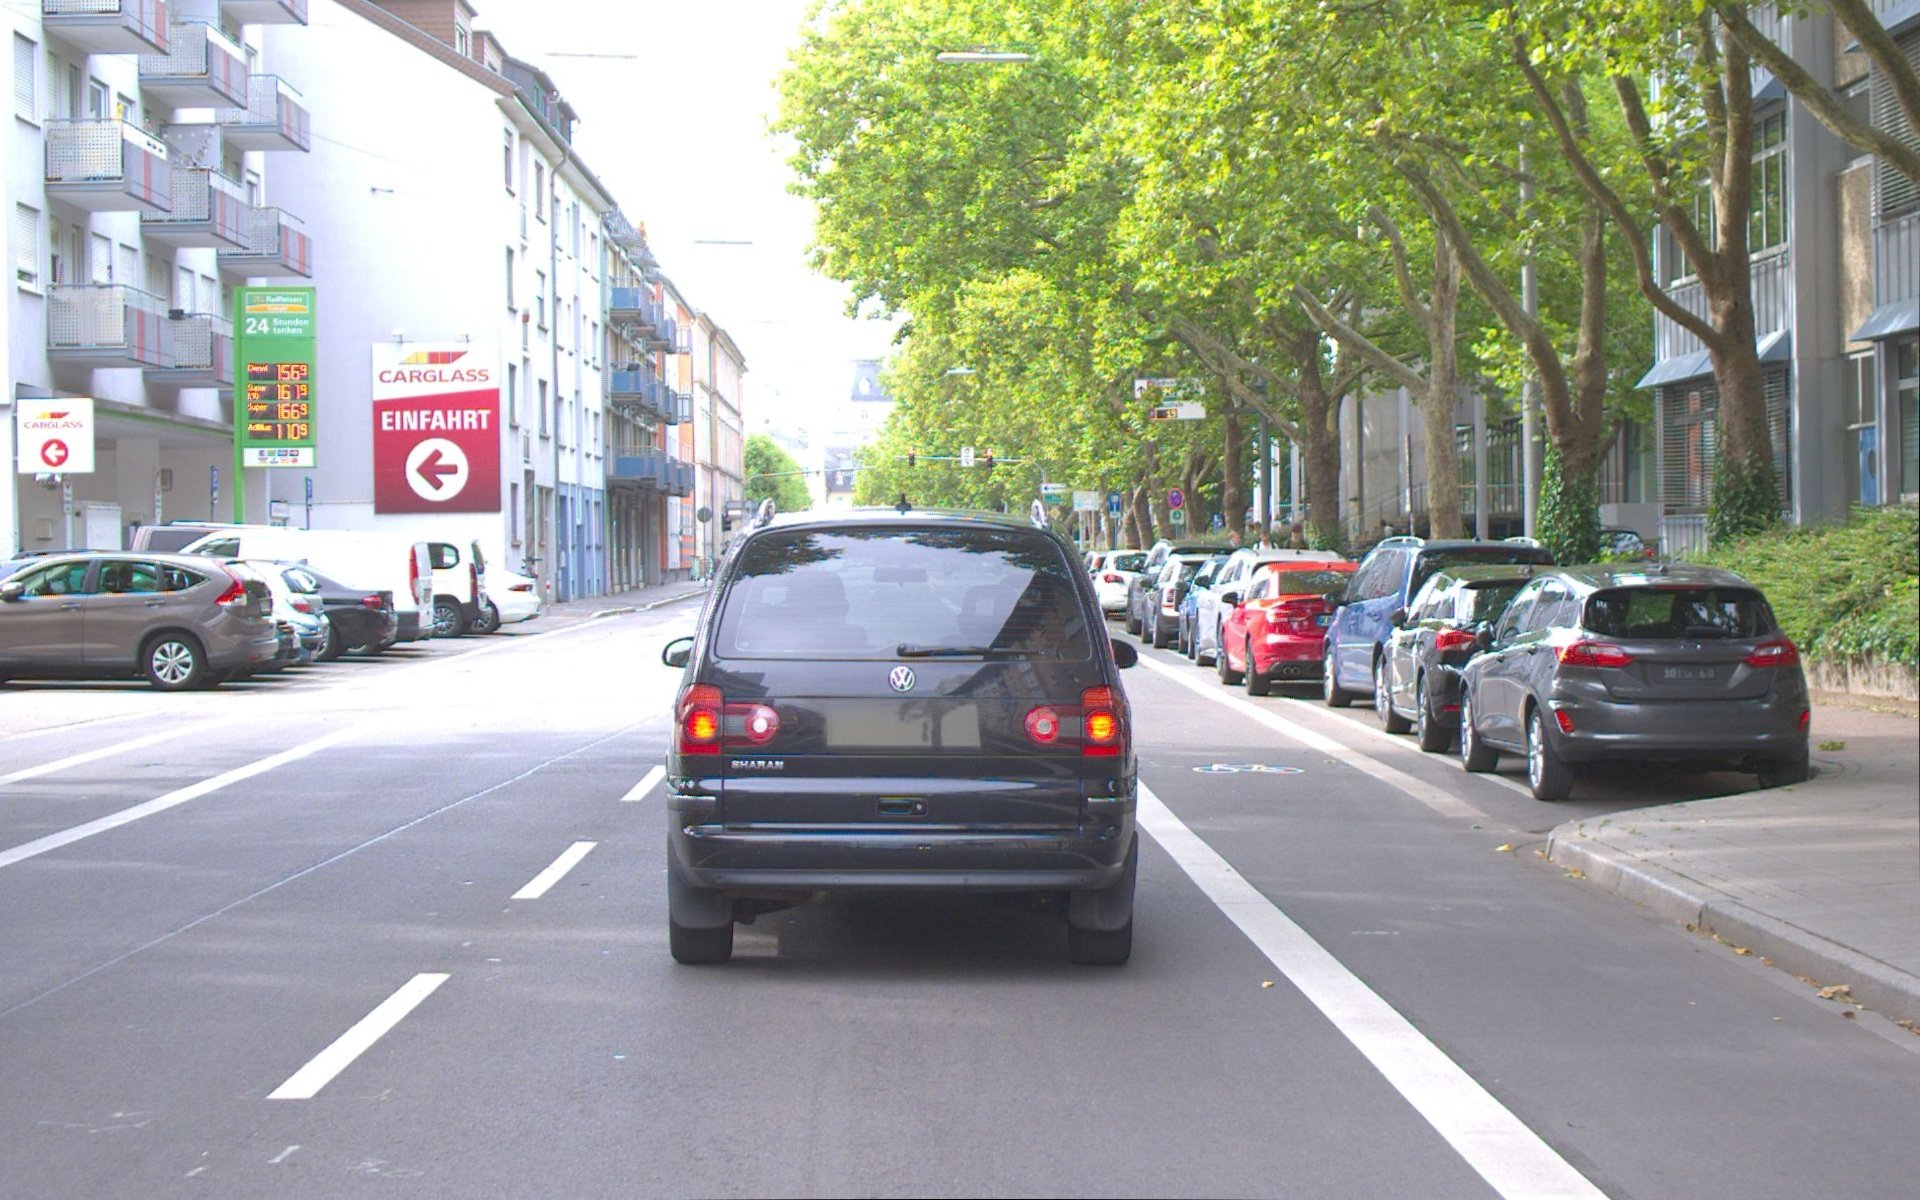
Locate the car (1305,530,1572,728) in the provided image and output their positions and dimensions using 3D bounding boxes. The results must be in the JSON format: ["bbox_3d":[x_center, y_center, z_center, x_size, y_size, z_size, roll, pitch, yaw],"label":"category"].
[{"bbox_3d":[4.412,0.212,32.331,1.657,1.645,4.421,1,2,-3],"label":"car"}]

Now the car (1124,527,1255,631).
[{"bbox_3d":[3.842,-0.386,58.245,1.668,1.635,4.504,2,1,-3],"label":"car"}]

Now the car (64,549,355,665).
[{"bbox_3d":[-10.449,0.085,48.048,3.681,1.480,1.753,1,1,-2],"label":"car"}]

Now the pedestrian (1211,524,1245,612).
[{"bbox_3d":[5.234,-0.631,67.090,0.587,1.696,0.508,1,2,0],"label":"pedestrian"}]

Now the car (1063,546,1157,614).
[{"bbox_3d":[3.284,-0.457,75.853,1.641,1.409,3.417,1,1,-5],"label":"car"}]

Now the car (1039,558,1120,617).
[{"bbox_3d":[3.022,-0.330,87.389,1.641,1.409,3.417,1,1,-5],"label":"car"}]

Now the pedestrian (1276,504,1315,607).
[{"bbox_3d":[6.524,-0.872,66.880,0.643,1.968,0.692,1,2,0],"label":"pedestrian"}]

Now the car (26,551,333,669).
[{"bbox_3d":[-10.350,0.120,45.757,3.681,1.422,1.753,1,1,-2],"label":"car"}]

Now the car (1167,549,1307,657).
[{"bbox_3d":[3.860,0.009,48.369,1.622,1.381,4.000,2,1,0],"label":"car"}]

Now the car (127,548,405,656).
[{"bbox_3d":[-10.057,0.016,50.019,3.682,1.439,1.753,1,1,-1],"label":"car"}]

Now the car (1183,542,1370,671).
[{"bbox_3d":[3.908,0.045,43.174,1.727,1.511,4.872,0,1,-2],"label":"car"}]

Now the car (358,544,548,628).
[{"bbox_3d":[-9.478,-0.263,64.407,3.342,1.491,1.596,1,1,-2],"label":"car"}]

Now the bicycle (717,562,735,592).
[{"bbox_3d":[-8.799,-0.860,129.281,0.631,1.030,2.015,0,-2,-3],"label":"bicycle"}]

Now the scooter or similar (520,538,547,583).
[{"bbox_3d":[-10.565,-0.978,85.187,0.631,1.030,2.015,1,-1,-7],"label":"scooter or similar"}]

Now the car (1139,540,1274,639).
[{"bbox_3d":[3.771,-0.190,53.189,1.629,1.465,4.318,0,1,-2],"label":"car"}]

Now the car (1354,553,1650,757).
[{"bbox_3d":[4.275,0.387,27.630,1.657,1.417,3.947,-1,2,-1],"label":"car"}]

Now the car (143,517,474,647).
[{"bbox_3d":[-10.443,-0.302,55.365,4.916,1.897,2.000,2,1,-1],"label":"car"}]

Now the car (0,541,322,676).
[{"bbox_3d":[-10.286,0.092,43.754,3.941,1.564,1.753,1,1,2],"label":"car"}]

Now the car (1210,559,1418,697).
[{"bbox_3d":[3.795,0.261,37.494,1.675,1.389,4.461,0,1,-2],"label":"car"}]

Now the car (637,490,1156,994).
[{"bbox_3d":[-0.279,0.474,13.919,1.812,1.760,3.738,0,1,-2],"label":"car"}]

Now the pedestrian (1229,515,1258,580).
[{"bbox_3d":[8.045,-1.495,97.485,0.767,1.825,0.516,0,1,0],"label":"pedestrian"}]

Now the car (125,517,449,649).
[{"bbox_3d":[-10.264,-0.276,52.695,4.526,1.872,2.047,1,1,0],"label":"car"}]

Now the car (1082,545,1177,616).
[{"bbox_3d":[3.508,-0.433,71.705,1.675,1.389,4.461,1,1,-1],"label":"car"}]

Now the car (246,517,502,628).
[{"bbox_3d":[-10.504,-0.500,61.834,4.307,1.863,1.824,1,1,-2],"label":"car"}]

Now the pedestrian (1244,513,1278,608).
[{"bbox_3d":[5.882,-0.775,67.218,0.587,1.832,0.692,1,2,0],"label":"pedestrian"}]

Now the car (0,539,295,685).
[{"bbox_3d":[-10.316,0.120,41.301,4.256,1.600,1.968,1,2,0],"label":"car"}]

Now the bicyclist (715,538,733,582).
[{"bbox_3d":[-8.874,-1.505,129.542,0.653,1.606,0.656,0,-2,-3],"label":"bicyclist"}]

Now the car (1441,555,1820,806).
[{"bbox_3d":[4.339,0.465,22.776,1.657,1.417,3.867,-1,2,-1],"label":"car"}]
